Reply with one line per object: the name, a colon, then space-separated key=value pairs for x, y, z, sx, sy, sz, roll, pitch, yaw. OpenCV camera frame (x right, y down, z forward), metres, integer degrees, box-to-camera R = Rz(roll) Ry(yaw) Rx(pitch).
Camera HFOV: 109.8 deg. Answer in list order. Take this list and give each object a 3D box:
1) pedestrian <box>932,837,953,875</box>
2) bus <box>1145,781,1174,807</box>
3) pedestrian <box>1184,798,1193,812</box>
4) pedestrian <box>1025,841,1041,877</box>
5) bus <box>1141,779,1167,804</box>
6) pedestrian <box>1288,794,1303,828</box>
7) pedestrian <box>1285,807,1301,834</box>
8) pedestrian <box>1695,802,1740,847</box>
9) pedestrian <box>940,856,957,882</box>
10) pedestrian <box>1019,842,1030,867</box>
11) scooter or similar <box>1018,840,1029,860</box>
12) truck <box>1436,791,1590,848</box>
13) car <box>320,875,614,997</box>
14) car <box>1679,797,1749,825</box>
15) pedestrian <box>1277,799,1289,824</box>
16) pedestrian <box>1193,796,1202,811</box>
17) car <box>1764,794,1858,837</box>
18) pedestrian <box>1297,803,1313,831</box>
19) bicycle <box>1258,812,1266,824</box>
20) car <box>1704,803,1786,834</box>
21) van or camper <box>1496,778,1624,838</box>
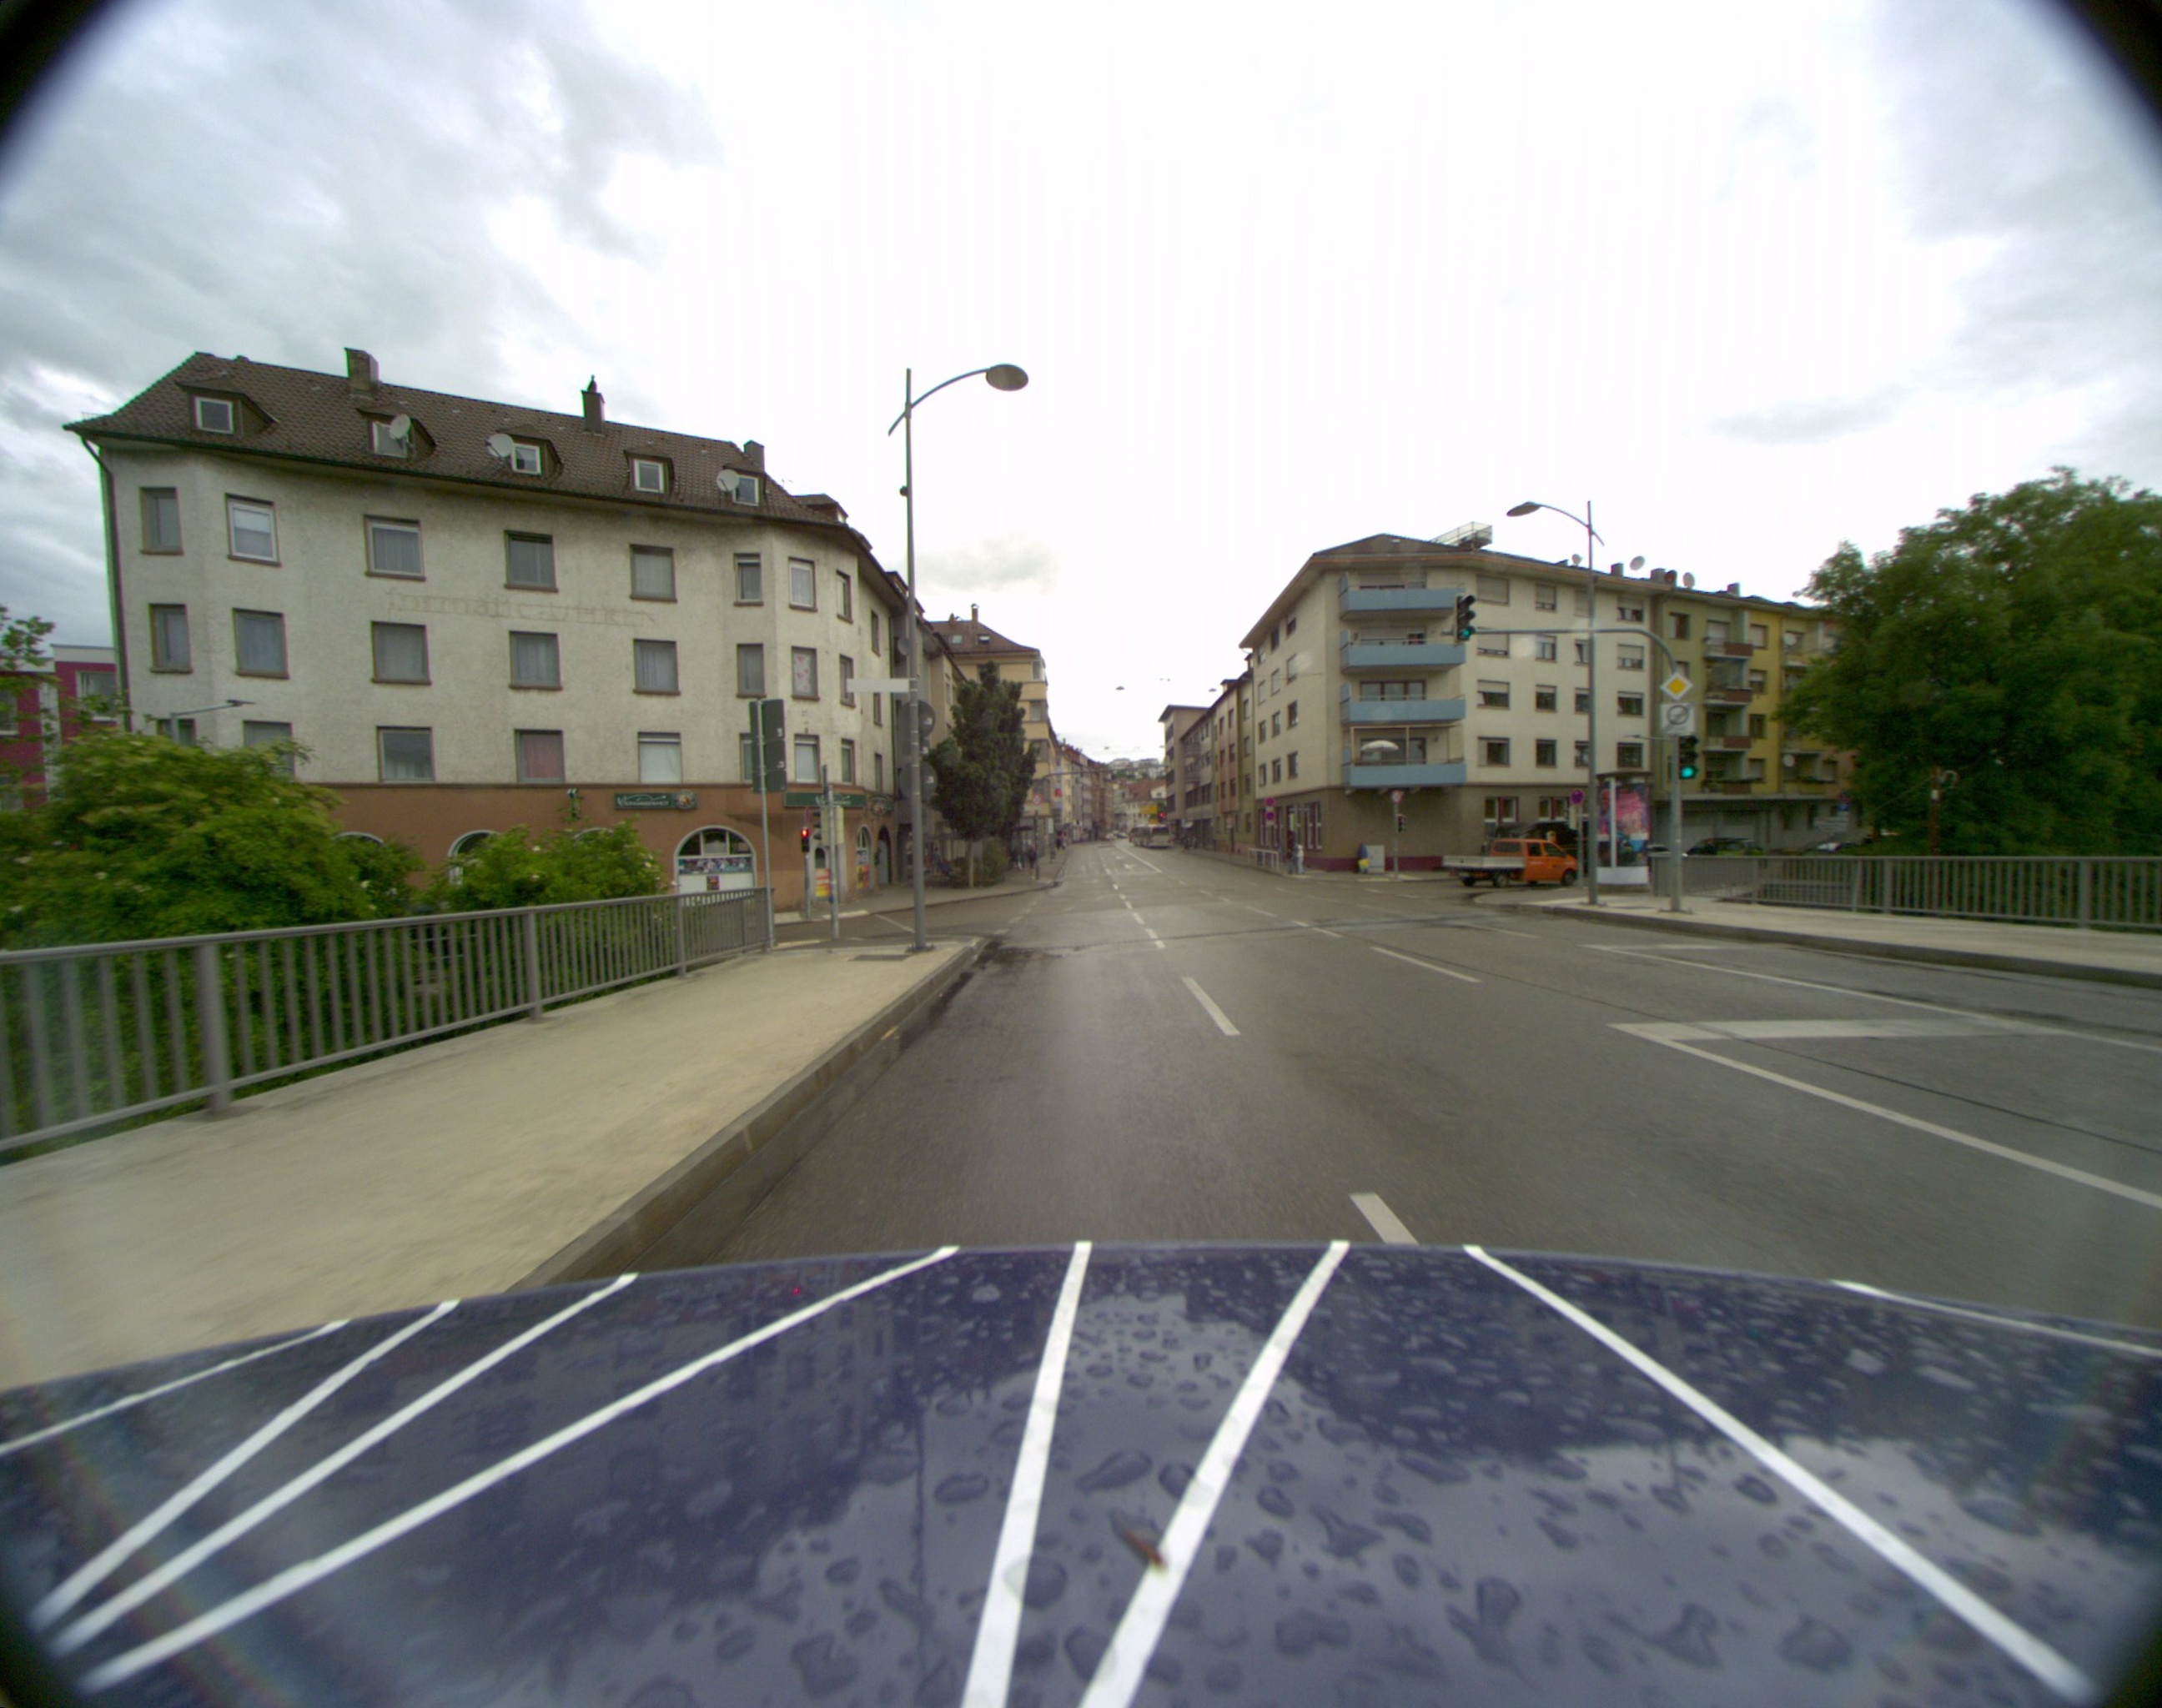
pedestrian: x=-7.710 y=0.090 z=42.236 sx=0.899 sy=2.003 sz=1.199 roll=-1 pitch=4 yaw=0
bus: x=9.922 y=-7.559 z=96.809 sx=2.732 sy=3.172 sz=9.287 roll=-1 pitch=4 yaw=1
pedestrian: x=11.630 y=-5.305 z=82.079 sx=0.801 sy=1.527 sz=0.710 roll=-1 pitch=4 yaw=0
pedestrian: x=-2.545 y=0.262 z=40.382 sx=0.735 sy=1.831 sz=0.630 roll=-1 pitch=4 yaw=-1
bus: x=9.958 y=-8.489 z=104.710 sx=2.765 sy=3.172 sz=8.906 roll=-1 pitch=4 yaw=1
pedestrian: x=13.497 y=-2.713 z=47.925 sx=0.713 sy=2.089 sz=0.729 roll=-1 pitch=4 yaw=-2
pedestrian: x=11.231 y=-1.793 z=40.335 sx=0.546 sy=1.381 sz=0.649 roll=-7 pitch=4 yaw=3
pedestrian: x=25.304 y=-1.188 z=30.221 sx=1.073 sy=1.748 sz=1.060 roll=-4 pitch=5 yaw=-34
pedestrian: x=-6.343 y=0.712 z=36.364 sx=0.666 sy=1.183 sz=0.556 roll=-1 pitch=4 yaw=-1
pedestrian: x=-3.925 y=0.020 z=53.003 sx=0.620 sy=1.690 sz=0.656 roll=-1 pitch=4 yaw=5
scooter or similar: x=-3.634 y=-0.242 z=48.282 sx=0.512 sy=1.166 sz=1.548 roll=-1 pitch=4 yaw=1
truck: x=17.627 y=-1.451 z=31.068 sx=5.318 sy=2.118 sz=2.403 roll=-2 pitch=4 yaw=-16
car: x=-13.908 y=1.769 z=17.652 sx=4.762 sy=2.003 sz=1.996 roll=-5 pitch=4 yaw=-22
car: x=35.503 y=-2.427 z=42.583 sx=3.708 sy=1.491 sz=1.865 roll=-3 pitch=4 yaw=-31
pedestrian: x=12.466 y=-2.612 z=46.903 sx=0.576 sy=1.545 sz=0.739 roll=-1 pitch=4 yaw=-2
pedestrian: x=12.538 y=-5.430 z=81.590 sx=0.839 sy=1.606 sz=0.710 roll=-1 pitch=4 yaw=0
car: x=36.905 y=-1.974 z=38.422 sx=4.004 sy=2.003 sz=1.995 roll=-3 pitch=4 yaw=-24
pedestrian: x=11.693 y=-1.924 z=39.712 sx=0.644 sy=1.450 sz=0.660 roll=-1 pitch=4 yaw=-1
bicycle: x=11.531 y=-2.311 z=48.490 sx=0.265 sy=0.779 sz=1.110 roll=-1 pitch=4 yaw=1
car: x=34.551 y=-1.869 z=39.553 sx=4.005 sy=1.509 sz=1.820 roll=-3 pitch=4 yaw=-27
van or camper: x=23.340 y=-2.280 z=36.962 sx=6.490 sy=2.716 sz=1.995 roll=-3 pitch=4 yaw=-25
